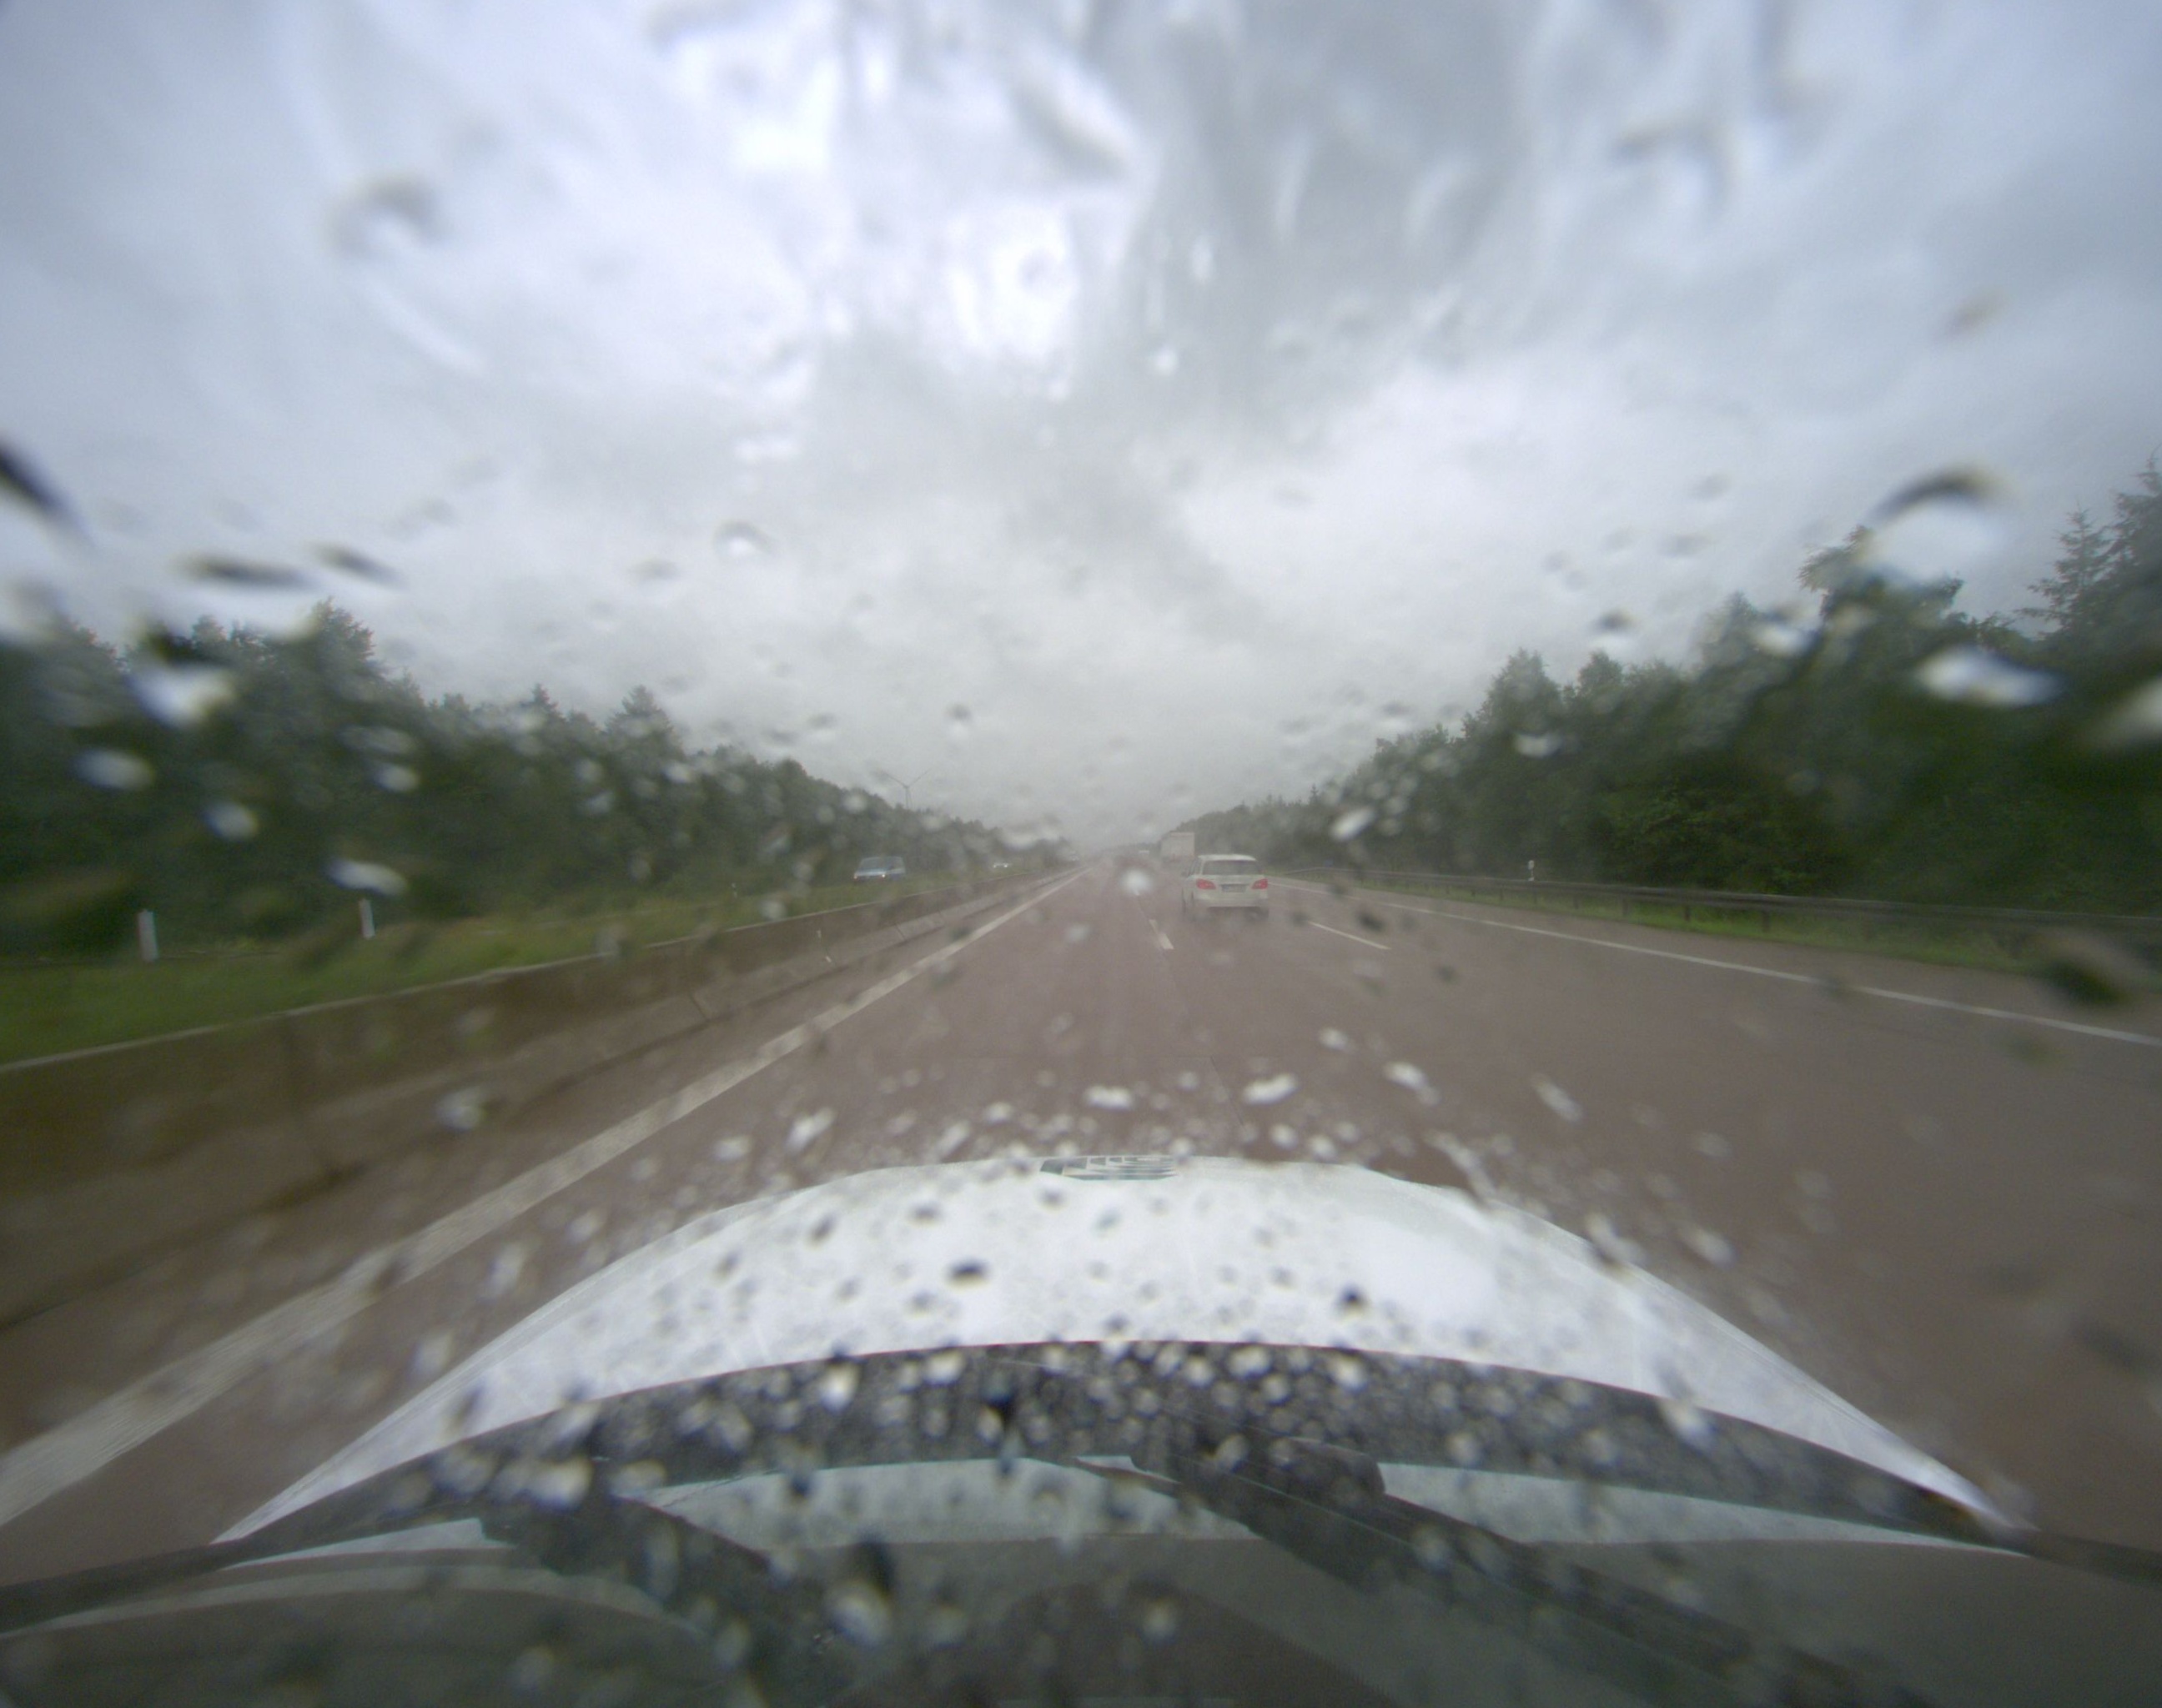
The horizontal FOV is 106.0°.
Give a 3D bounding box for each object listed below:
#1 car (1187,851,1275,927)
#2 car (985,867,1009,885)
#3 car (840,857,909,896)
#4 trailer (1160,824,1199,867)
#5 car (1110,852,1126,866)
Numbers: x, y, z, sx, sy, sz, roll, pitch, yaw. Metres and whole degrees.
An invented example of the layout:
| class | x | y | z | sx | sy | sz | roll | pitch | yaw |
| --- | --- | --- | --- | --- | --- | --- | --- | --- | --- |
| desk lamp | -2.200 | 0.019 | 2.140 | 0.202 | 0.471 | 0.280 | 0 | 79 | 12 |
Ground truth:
| class | x | y | z | sx | sy | sz | roll | pitch | yaw |
| --- | --- | --- | --- | --- | --- | --- | --- | --- | --- |
| car | 3.736 | 0.807 | 21.016 | 1.800 | 1.728 | 4.750 | 0 | 0 | 5 |
| car | -9.577 | 2.506 | 93.352 | 2.081 | 2.014 | 4.800 | -1 | 0 | 1 |
| car | -11.404 | 1.199 | 45.523 | 2.298 | 2.014 | 5.663 | -1 | 0 | 1 |
| trailer | 10.679 | -0.913 | 89.848 | 2.842 | 4.231 | 13.136 | -2 | 0 | 1 |
| car | 5.173 | 0.716 | 113.893 | 2.165 | 1.981 | 4.132 | 0 | 0 | 2 |
